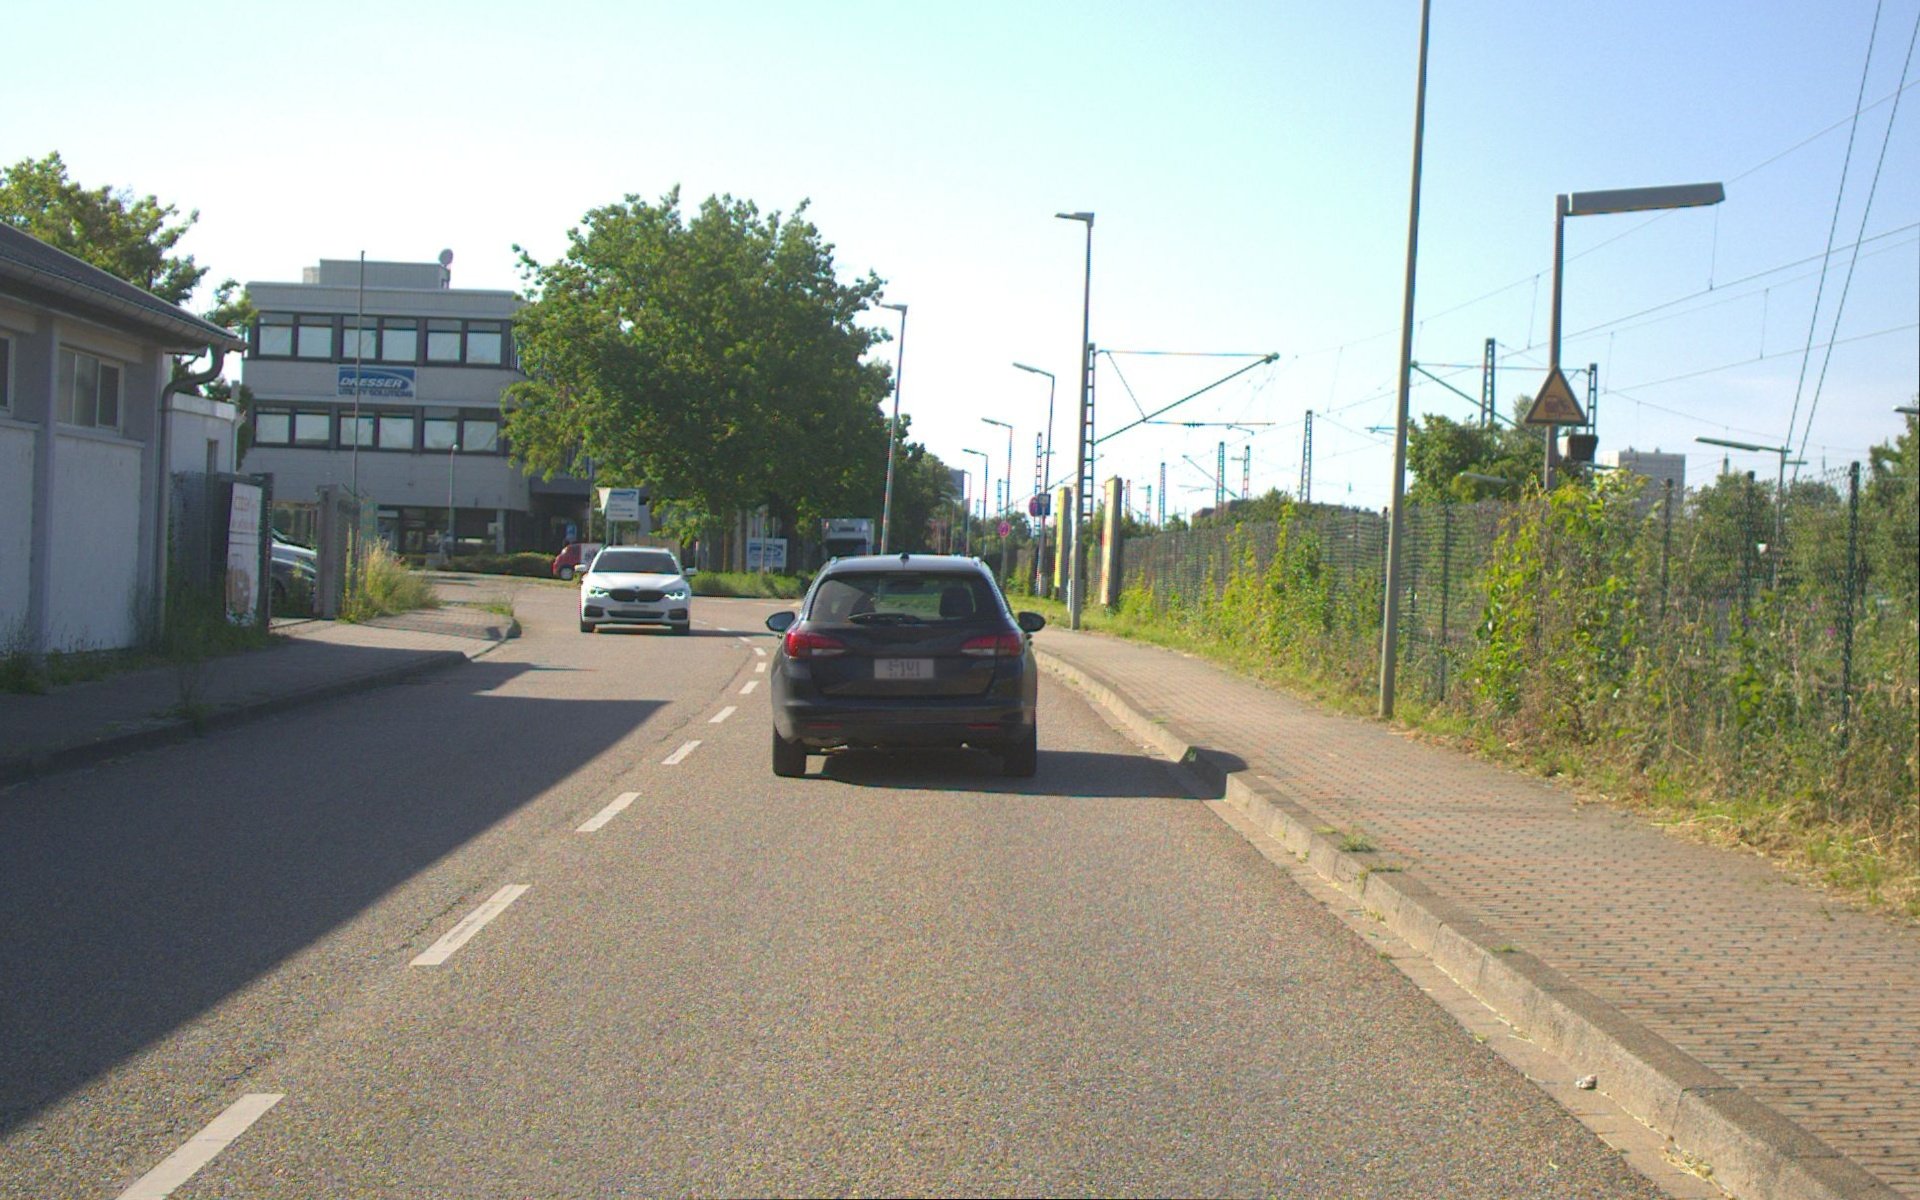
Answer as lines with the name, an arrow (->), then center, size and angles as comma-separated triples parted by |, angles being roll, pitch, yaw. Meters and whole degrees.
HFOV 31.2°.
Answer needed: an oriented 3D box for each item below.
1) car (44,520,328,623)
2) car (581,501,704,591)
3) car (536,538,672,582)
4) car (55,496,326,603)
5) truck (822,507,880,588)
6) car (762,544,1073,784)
car -> -12.566, -0.470, 56.050 | 4.388, 1.501, 1.841 | 2, 1, -11
car -> -5.474, -0.935, 59.702 | 1.808, 1.473, 4.688 | 1, 1, -1
car -> -13.665, -1.543, 132.144 | 4.911, 1.479, 2.000 | 2, 2, 4
car -> -13.057, -0.858, 58.541 | 4.388, 1.643, 1.841 | 2, 1, -11
truck -> -5.663, -2.670, 176.569 | 2.613, 3.872, 13.534 | 3, 1, -3
car -> -0.314, 0.383, 24.007 | 1.942, 1.483, 4.566 | 1, 1, -1
